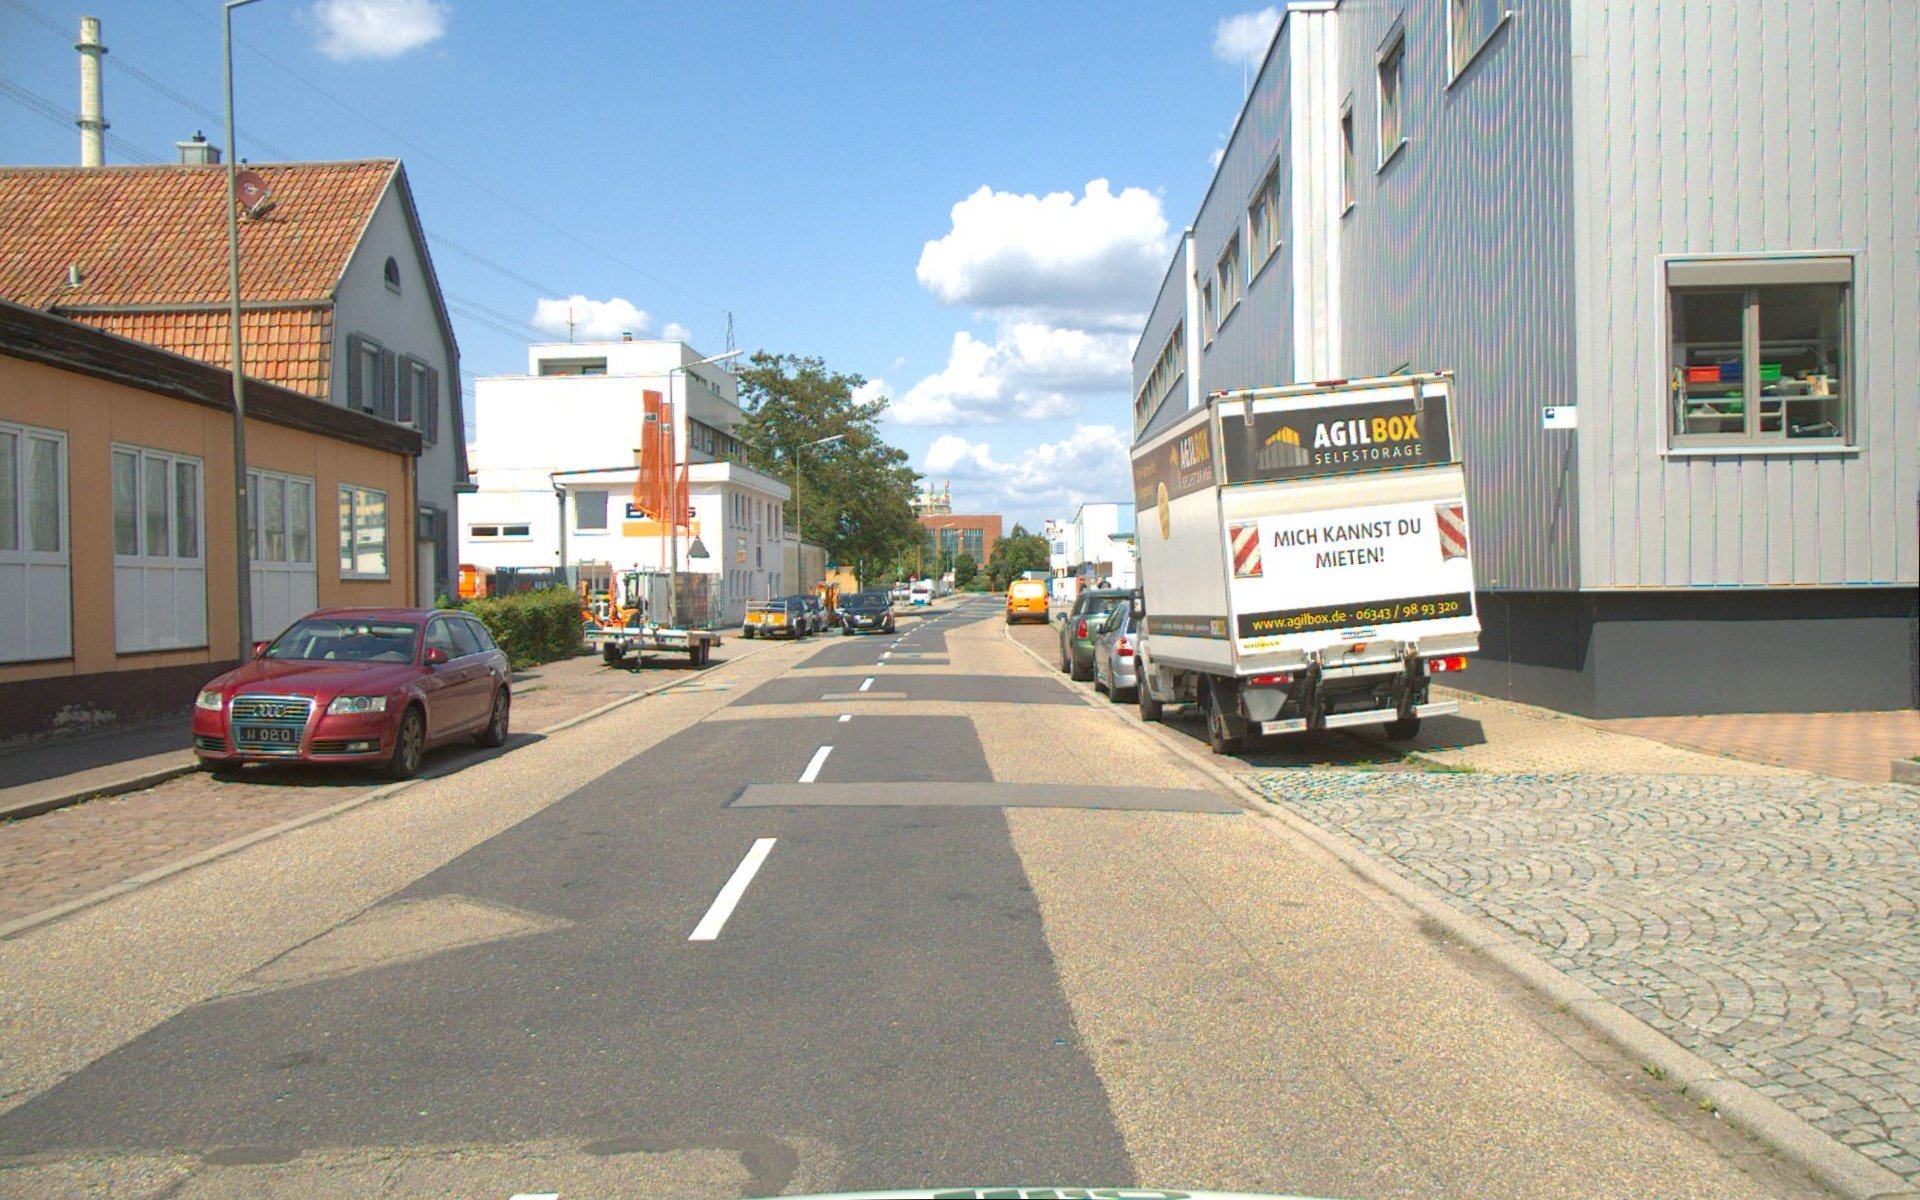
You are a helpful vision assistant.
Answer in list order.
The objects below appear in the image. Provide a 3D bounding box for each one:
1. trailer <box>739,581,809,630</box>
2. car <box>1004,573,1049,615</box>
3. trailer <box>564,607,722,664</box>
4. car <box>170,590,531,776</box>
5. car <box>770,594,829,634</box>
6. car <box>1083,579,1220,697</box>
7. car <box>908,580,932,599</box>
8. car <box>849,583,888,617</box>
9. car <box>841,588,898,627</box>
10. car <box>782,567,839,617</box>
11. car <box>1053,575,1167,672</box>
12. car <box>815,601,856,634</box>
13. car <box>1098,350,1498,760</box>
[{"bbox_3d":[-6.233,0.171,55.859,1.953,1.584,4.252,0,0,-1],"label":"trailer"},{"bbox_3d":[2.855,-0.236,71.957,1.899,1.772,4.377,0,0,1],"label":"car"},{"bbox_3d":[-6.531,0.706,34.777,2.315,0.908,5.568,2,1,-1],"label":"trailer"},{"bbox_3d":[-5.628,0.702,15.989,1.726,1.473,4.740,2,0,-1],"label":"car"},{"bbox_3d":[-6.237,0.548,64.579,1.787,1.467,4.000,2,0,1],"label":"car"},{"bbox_3d":[2.779,0.512,24.679,1.535,1.601,4.068,-1,0,0],"label":"car"},{"bbox_3d":[-3.568,-0.902,148.550,1.772,1.591,4.001,2,0,3],"label":"car"},{"bbox_3d":[-5.193,0.017,94.609,1.882,1.825,4.000,2,0,1],"label":"car"},{"bbox_3d":[-3.164,0.242,58.224,1.879,1.307,3.613,-1,0,-1],"label":"car"},{"bbox_3d":[-6.401,-0.318,71.385,1.952,2.049,4.000,2,0,1],"label":"car"},{"bbox_3d":[2.646,0.415,29.942,1.732,1.640,3.873,0,0,0],"label":"car"},{"bbox_3d":[-5.771,0.799,76.898,1.634,1.473,3.453,2,0,-1],"label":"car"},{"bbox_3d":[3.204,-0.393,17.578,2.341,3.421,6.640,-3,0,-4],"label":"car"}]
